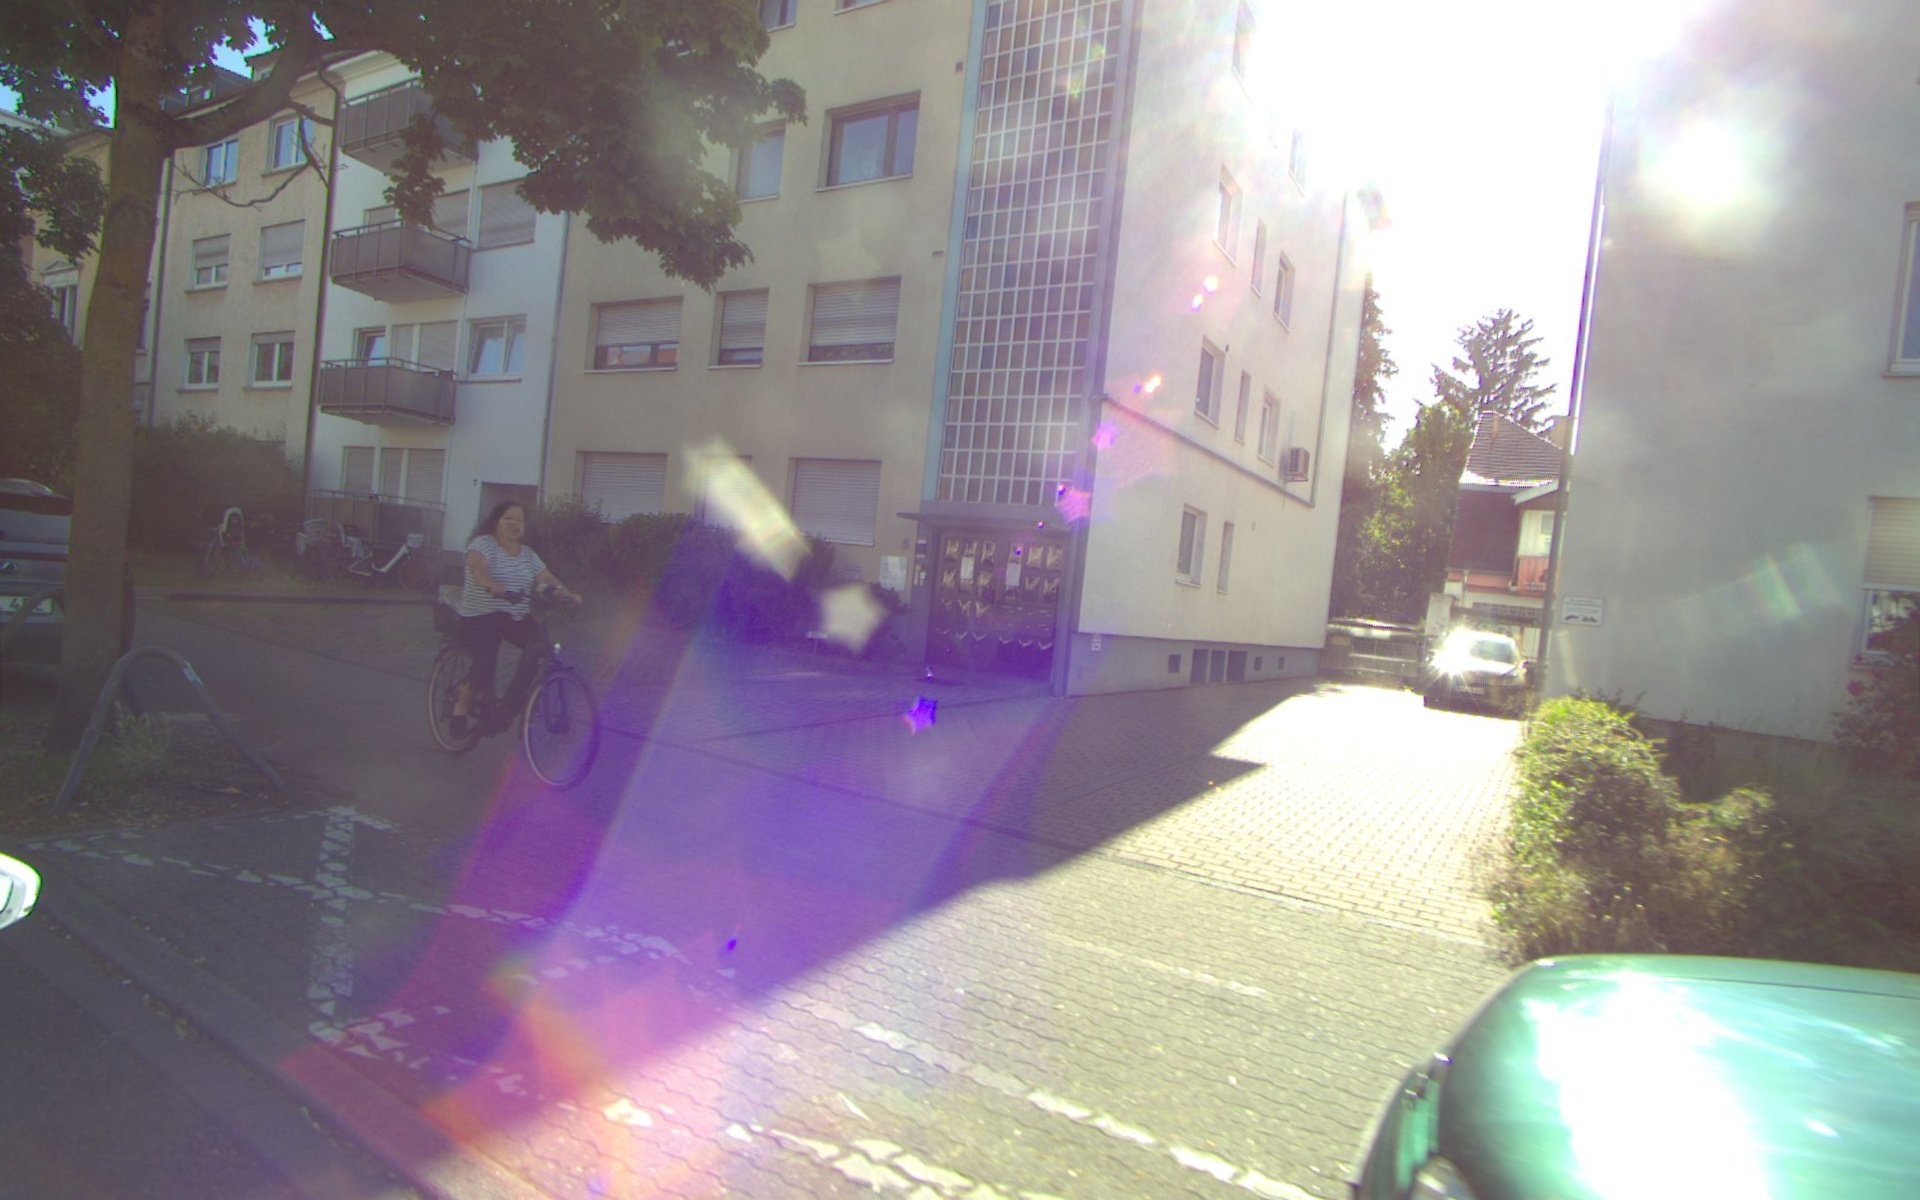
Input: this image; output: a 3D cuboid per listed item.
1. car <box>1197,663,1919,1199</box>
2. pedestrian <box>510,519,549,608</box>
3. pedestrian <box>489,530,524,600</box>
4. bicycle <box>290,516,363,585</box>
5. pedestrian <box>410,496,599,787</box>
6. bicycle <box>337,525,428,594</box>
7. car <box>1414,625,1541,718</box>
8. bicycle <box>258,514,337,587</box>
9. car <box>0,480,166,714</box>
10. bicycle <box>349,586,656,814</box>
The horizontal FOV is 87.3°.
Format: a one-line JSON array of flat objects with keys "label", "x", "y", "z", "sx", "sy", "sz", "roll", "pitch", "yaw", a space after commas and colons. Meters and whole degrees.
[{"label": "car", "x": 2.476, "y": 1.055, "z": 0.989, "sx": 4.079, "sy": 1.446, "sz": 1.692, "roll": 7, "pitch": 1, "yaw": 33}, {"label": "pedestrian", "x": -8.800, "y": -0.748, "z": 20.584, "sx": 0.360, "sy": 1.756, "sz": 0.365, "roll": 7, "pitch": -1, "yaw": 26}, {"label": "pedestrian", "x": -9.520, "y": -0.740, "z": 21.123, "sx": 0.358, "sy": 1.399, "sz": 0.366, "roll": 7, "pitch": -1, "yaw": 15}, {"label": "bicycle", "x": -13.238, "y": -1.040, "z": 21.011, "sx": 1.661, "sy": 1.305, "sz": 0.591, "roll": 7, "pitch": 4, "yaw": 32}, {"label": "pedestrian", "x": -2.923, "y": 0.245, "z": 6.465, "sx": 0.763, "sy": 1.704, "sz": 0.670, "roll": 7, "pitch": 2, "yaw": 31}, {"label": "bicycle", "x": -11.592, "y": -0.806, "z": 20.225, "sx": 1.521, "sy": 1.240, "sz": 0.460, "roll": 3, "pitch": 4, "yaw": -28}, {"label": "car", "x": 10.923, "y": 1.464, "z": 21.099, "sx": 1.850, "sy": 1.544, "sz": 3.988, "roll": 7, "pitch": 1, "yaw": 33}, {"label": "bicycle", "x": -13.458, "y": -1.010, "z": 20.417, "sx": 1.812, "sy": 1.305, "sz": 0.622, "roll": 7, "pitch": 4, "yaw": 32}, {"label": "car", "x": -7.986, "y": -0.226, "z": 7.552, "sx": 4.162, "sy": 1.508, "sz": 1.716, "roll": 7, "pitch": 1, "yaw": 30}, {"label": "bicycle", "x": -2.983, "y": 0.569, "z": 6.462, "sx": 2.092, "sy": 1.084, "sz": 0.682, "roll": 7, "pitch": 2, "yaw": 32}]
